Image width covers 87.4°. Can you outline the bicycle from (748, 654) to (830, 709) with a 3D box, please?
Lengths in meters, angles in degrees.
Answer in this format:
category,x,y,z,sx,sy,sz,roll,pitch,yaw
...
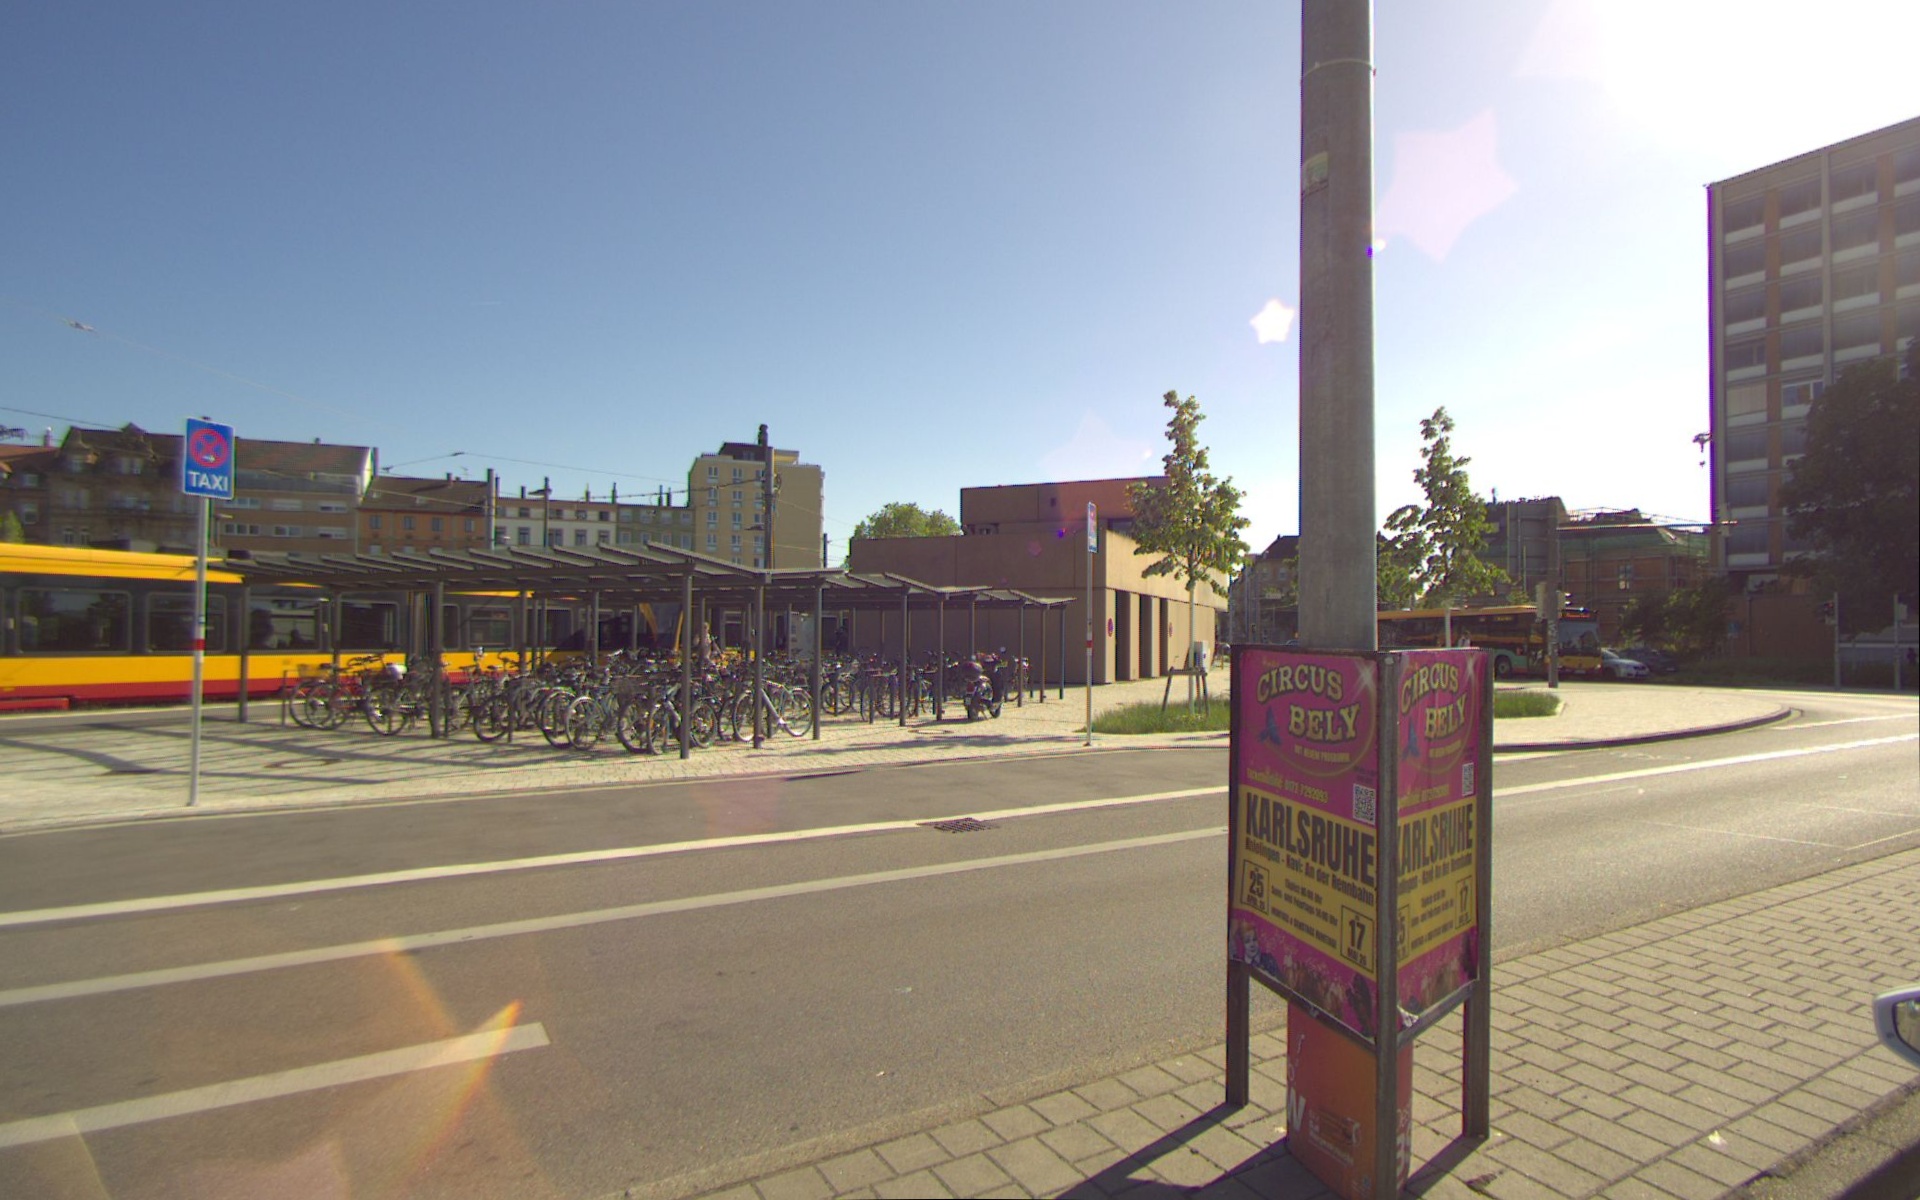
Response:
category,x,y,z,sx,sy,sz,roll,pitch,yaw
bicycle,-3.700,1.759,21.931,0.572,1.102,2.056,1,-3,29

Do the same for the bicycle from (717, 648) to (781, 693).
category,x,y,z,sx,sy,sz,roll,pitch,yaw
bicycle,-5.556,1.854,26.551,0.571,1.102,1.869,1,-2,27

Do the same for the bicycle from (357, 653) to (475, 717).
category,x,y,z,sx,sy,sz,roll,pitch,yaw
bicycle,-9.719,1.505,18.031,0.571,1.072,1.814,1,-2,27

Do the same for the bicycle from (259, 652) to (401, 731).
category,x,y,z,sx,sy,sz,roll,pitch,yaw
bicycle,-9.909,1.417,15.874,0.571,1.147,1.814,1,-2,27

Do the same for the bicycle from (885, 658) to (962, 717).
category,x,y,z,sx,sy,sz,roll,pitch,yaw
bicycle,-0.714,1.742,20.307,0.572,1.102,2.013,1,-3,29

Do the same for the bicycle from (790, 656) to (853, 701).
category,x,y,z,sx,sy,sz,roll,pitch,yaw
bicycle,-3.515,1.989,25.661,0.571,1.102,1.869,1,-2,27

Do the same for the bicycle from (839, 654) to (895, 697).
category,x,y,z,sx,sy,sz,roll,pitch,yaw
bicycle,-2.532,2.062,27.656,0.571,1.102,1.869,1,-2,27

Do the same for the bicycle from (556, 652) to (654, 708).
category,x,y,z,sx,sy,sz,roll,pitch,yaw
bicycle,-7.459,1.667,21.226,0.572,1.102,2.056,1,-3,29

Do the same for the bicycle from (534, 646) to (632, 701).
category,x,y,z,sx,sy,sz,roll,pitch,yaw
bicycle,-8.069,1.576,21.610,0.572,1.102,2.056,1,-3,29

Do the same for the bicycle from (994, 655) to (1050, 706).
category,x,y,z,sx,sy,sz,roll,pitch,yaw
bicycle,1.460,1.841,23.192,0.571,1.102,1.870,1,-2,27

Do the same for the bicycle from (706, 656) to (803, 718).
category,x,y,z,sx,sy,sz,roll,pitch,yaw
bicycle,-3.897,1.640,19.213,0.572,1.102,2.056,1,-3,29

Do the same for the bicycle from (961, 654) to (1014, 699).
category,x,y,z,sx,sy,sz,roll,pitch,yaw
bicycle,0.727,1.952,25.868,0.571,1.102,1.869,1,-2,27

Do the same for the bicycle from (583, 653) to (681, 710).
category,x,y,z,sx,sy,sz,roll,pitch,yaw
bicycle,-6.780,1.678,20.857,0.572,1.102,2.056,1,-3,29

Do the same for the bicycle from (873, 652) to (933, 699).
category,x,y,z,sx,sy,sz,roll,pitch,yaw
bicycle,-1.373,1.837,24.637,0.571,1.102,1.869,1,-2,27

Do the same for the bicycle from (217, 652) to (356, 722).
category,x,y,z,sx,sy,sz,roll,pitch,yaw
bicycle,-11.108,1.410,16.636,0.571,1.072,1.814,1,-2,27

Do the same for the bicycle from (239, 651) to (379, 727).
category,x,y,z,sx,sy,sz,roll,pitch,yaw
bicycle,-10.493,1.416,16.265,0.571,1.135,1.814,1,-2,27

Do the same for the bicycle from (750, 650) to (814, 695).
category,x,y,z,sx,sy,sz,roll,pitch,yaw
bicycle,-4.619,1.875,26.165,0.571,1.102,1.869,1,-2,27

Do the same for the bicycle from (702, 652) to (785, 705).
category,x,y,z,sx,sy,sz,roll,pitch,yaw
bicycle,-4.842,1.741,22.574,0.572,1.102,2.056,1,-3,29

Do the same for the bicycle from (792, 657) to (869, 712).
category,x,y,z,sx,sy,sz,roll,pitch,yaw
bicycle,-2.735,1.775,21.412,0.572,1.102,1.897,1,-3,29

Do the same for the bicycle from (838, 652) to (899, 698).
category,x,y,z,sx,sy,sz,roll,pitch,yaw
bicycle,-2.262,1.864,25.135,0.571,1.102,1.869,1,-2,27

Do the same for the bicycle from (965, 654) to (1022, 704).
category,x,y,z,sx,sy,sz,roll,pitch,yaw
bicycle,0.809,1.834,23.622,0.571,1.102,1.870,1,-2,27

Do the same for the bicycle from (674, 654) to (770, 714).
category,x,y,z,sx,sy,sz,roll,pitch,yaw
bicycle,-4.682,1.638,19.901,0.572,1.102,2.056,1,-3,29

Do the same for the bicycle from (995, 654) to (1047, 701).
category,x,y,z,sx,sy,sz,roll,pitch,yaw
bicycle,1.573,1.945,25.444,0.571,1.102,1.869,1,-2,27

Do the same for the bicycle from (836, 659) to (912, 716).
category,x,y,z,sx,sy,sz,roll,pitch,yaw
bicycle,-1.766,1.791,20.891,0.572,1.102,1.926,1,-3,29

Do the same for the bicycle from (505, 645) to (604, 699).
category,x,y,z,sx,sy,sz,roll,pitch,yaw
bicycle,-8.841,1.562,21.991,0.572,1.102,2.056,1,-3,29

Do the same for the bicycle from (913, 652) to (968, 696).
category,x,y,z,sx,sy,sz,roll,pitch,yaw
bicycle,-0.494,1.926,26.368,0.571,1.102,1.869,1,-2,27

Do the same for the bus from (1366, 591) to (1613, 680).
category,x,y,z,sx,sy,sz,roll,pitch,yaw
bus,23.763,1.632,46.407,2.832,3.440,12.421,3,-2,-11

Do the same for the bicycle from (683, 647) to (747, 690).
category,x,y,z,sx,sy,sz,roll,pitch,yaw
bicycle,-6.617,1.841,27.211,0.571,1.102,1.869,1,-2,27

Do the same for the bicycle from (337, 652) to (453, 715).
category,x,y,z,sx,sy,sz,roll,pitch,yaw
bicycle,-10.267,1.496,18.321,0.545,1.072,1.814,1,-2,27

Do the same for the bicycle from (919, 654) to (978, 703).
category,x,y,z,sx,sy,sz,roll,pitch,yaw
bicycle,-0.254,1.859,24.107,0.571,1.102,1.870,1,-2,27

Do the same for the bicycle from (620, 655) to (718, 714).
category,x,y,z,sx,sy,sz,roll,pitch,yaw
bicycle,-5.852,1.692,20.331,0.572,1.102,2.056,1,-3,29

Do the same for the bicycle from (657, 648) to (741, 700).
category,x,y,z,sx,sy,sz,roll,pitch,yaw
bicycle,-5.944,1.685,23.031,0.572,1.102,2.056,1,-3,29
